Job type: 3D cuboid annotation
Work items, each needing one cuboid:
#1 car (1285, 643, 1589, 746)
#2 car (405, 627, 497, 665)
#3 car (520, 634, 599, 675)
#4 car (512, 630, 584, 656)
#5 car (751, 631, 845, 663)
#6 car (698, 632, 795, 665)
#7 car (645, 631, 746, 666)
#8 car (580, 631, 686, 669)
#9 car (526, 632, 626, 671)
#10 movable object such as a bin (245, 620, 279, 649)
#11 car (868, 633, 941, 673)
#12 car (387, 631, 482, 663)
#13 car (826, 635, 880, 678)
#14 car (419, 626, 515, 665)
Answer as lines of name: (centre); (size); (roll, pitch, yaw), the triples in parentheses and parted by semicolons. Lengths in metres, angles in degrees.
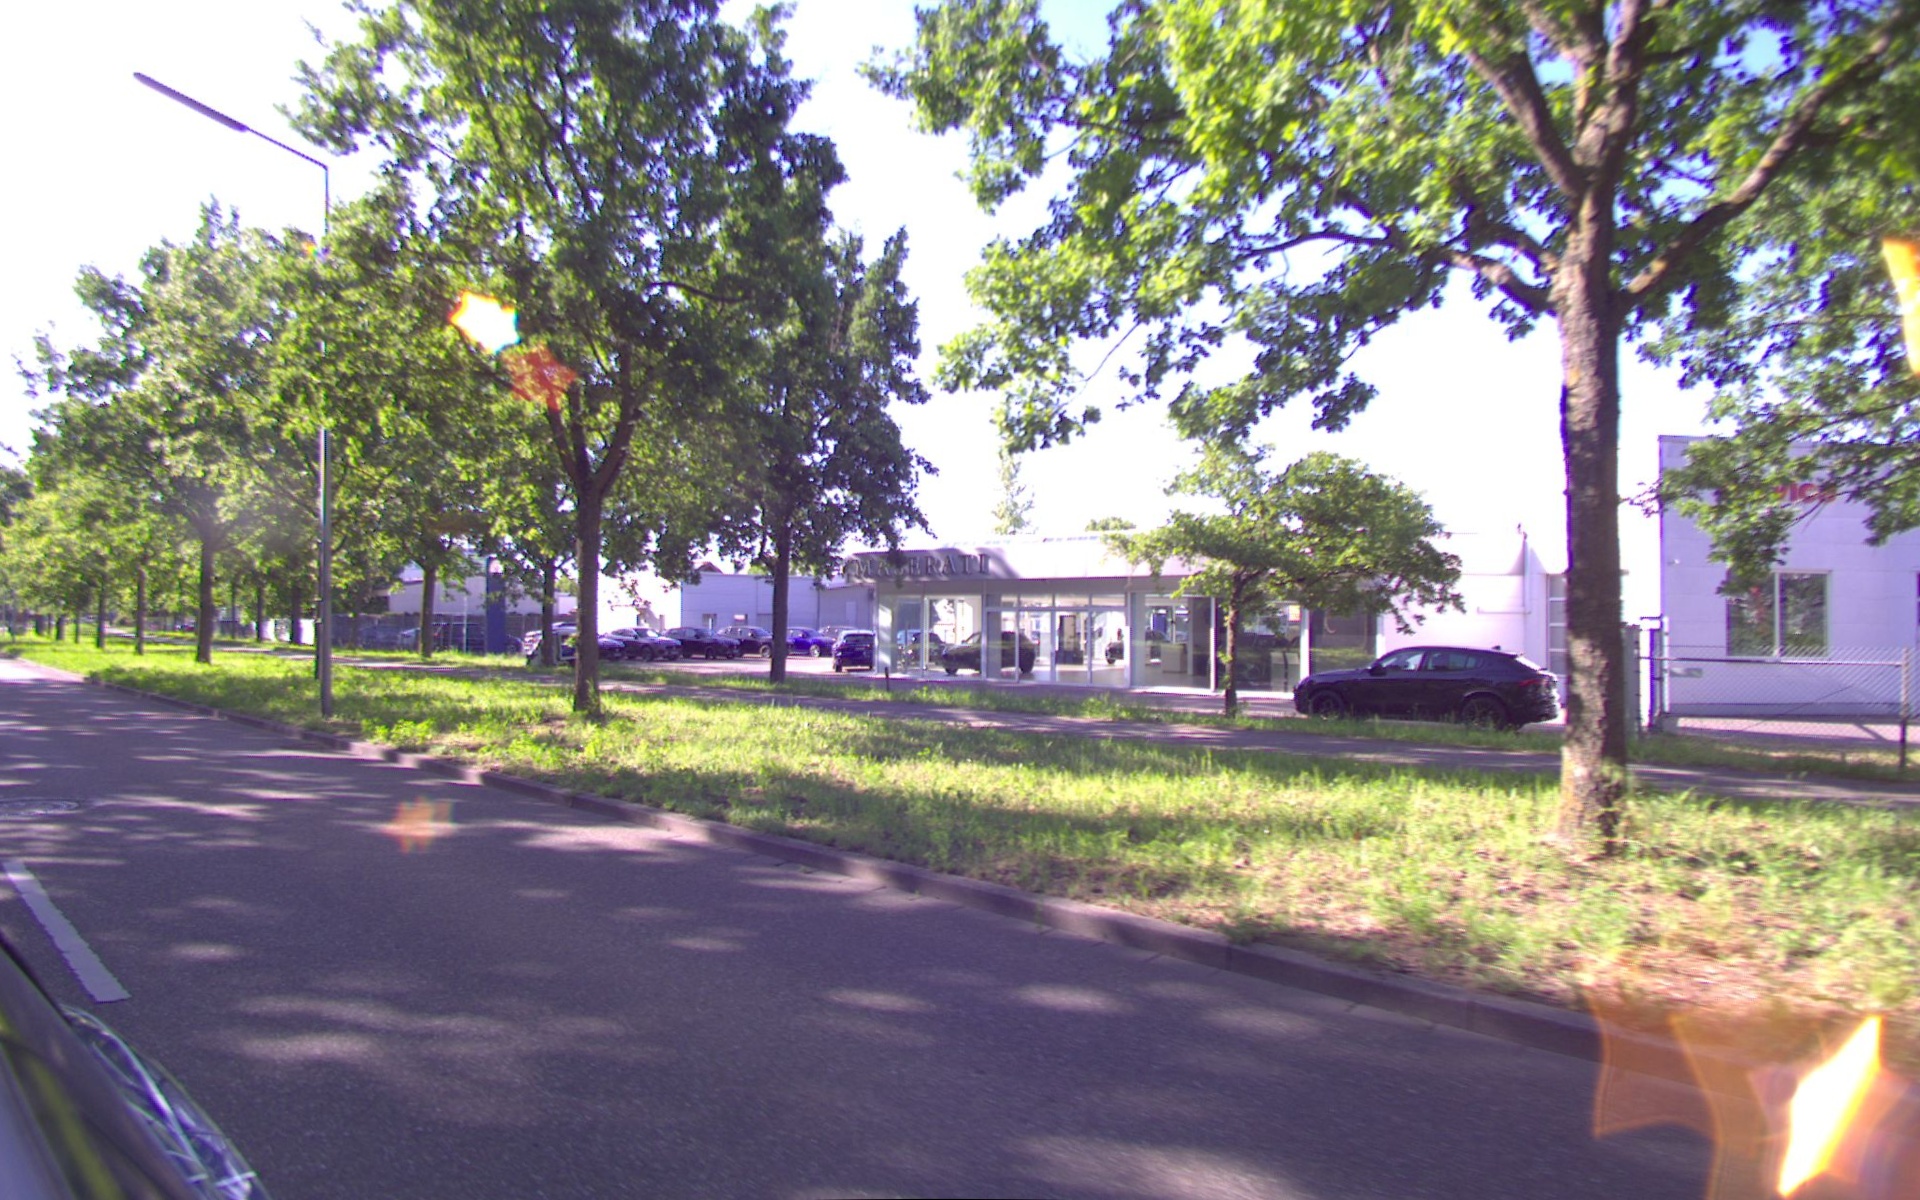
car: (9.164, 1.726, 19.732); (5.013, 1.610, 1.973); (-1, 0, 41)
car: (-26.682, 2.367, 53.089); (3.941, 1.759, 1.863); (-1, 0, -45)
car: (-14.953, 2.007, 37.787); (2.531, 1.481, 1.430); (1, -2, -31)
car: (-26.928, 2.782, 66.216); (1.752, 1.530, 3.941); (-1, 0, 45)
car: (-9.218, 2.635, 57.497); (5.240, 1.673, 1.979); (-1, 0, 31)
car: (-11.691, 2.606, 55.289); (5.240, 1.673, 1.979); (-1, 0, 31)
car: (-13.822, 2.486, 52.849); (5.240, 1.702, 1.979); (-1, 0, 31)
car: (-16.300, 2.460, 50.433); (5.236, 1.730, 1.981); (-1, 0, 29)
car: (-18.286, 2.427, 48.200); (4.477, 1.688, 1.982); (-1, 0, 27)
movable object such as a bin: (-65.005, 3.169, 94.203); (1.970, 2.535, 4.240); (-1, 0, -43)
car: (-2.621, 2.411, 46.730); (1.965, 1.673, 5.025); (0, -2, -20)
car: (-28.722, 2.539, 55.348); (1.863, 1.530, 4.261); (-1, 0, 45)
car: (-4.582, 2.317, 42.626); (1.968, 1.673, 5.269); (-1, -2, -9)
car: (-24.764, 2.238, 50.899); (3.940, 1.755, 2.002); (-1, 0, -44)
